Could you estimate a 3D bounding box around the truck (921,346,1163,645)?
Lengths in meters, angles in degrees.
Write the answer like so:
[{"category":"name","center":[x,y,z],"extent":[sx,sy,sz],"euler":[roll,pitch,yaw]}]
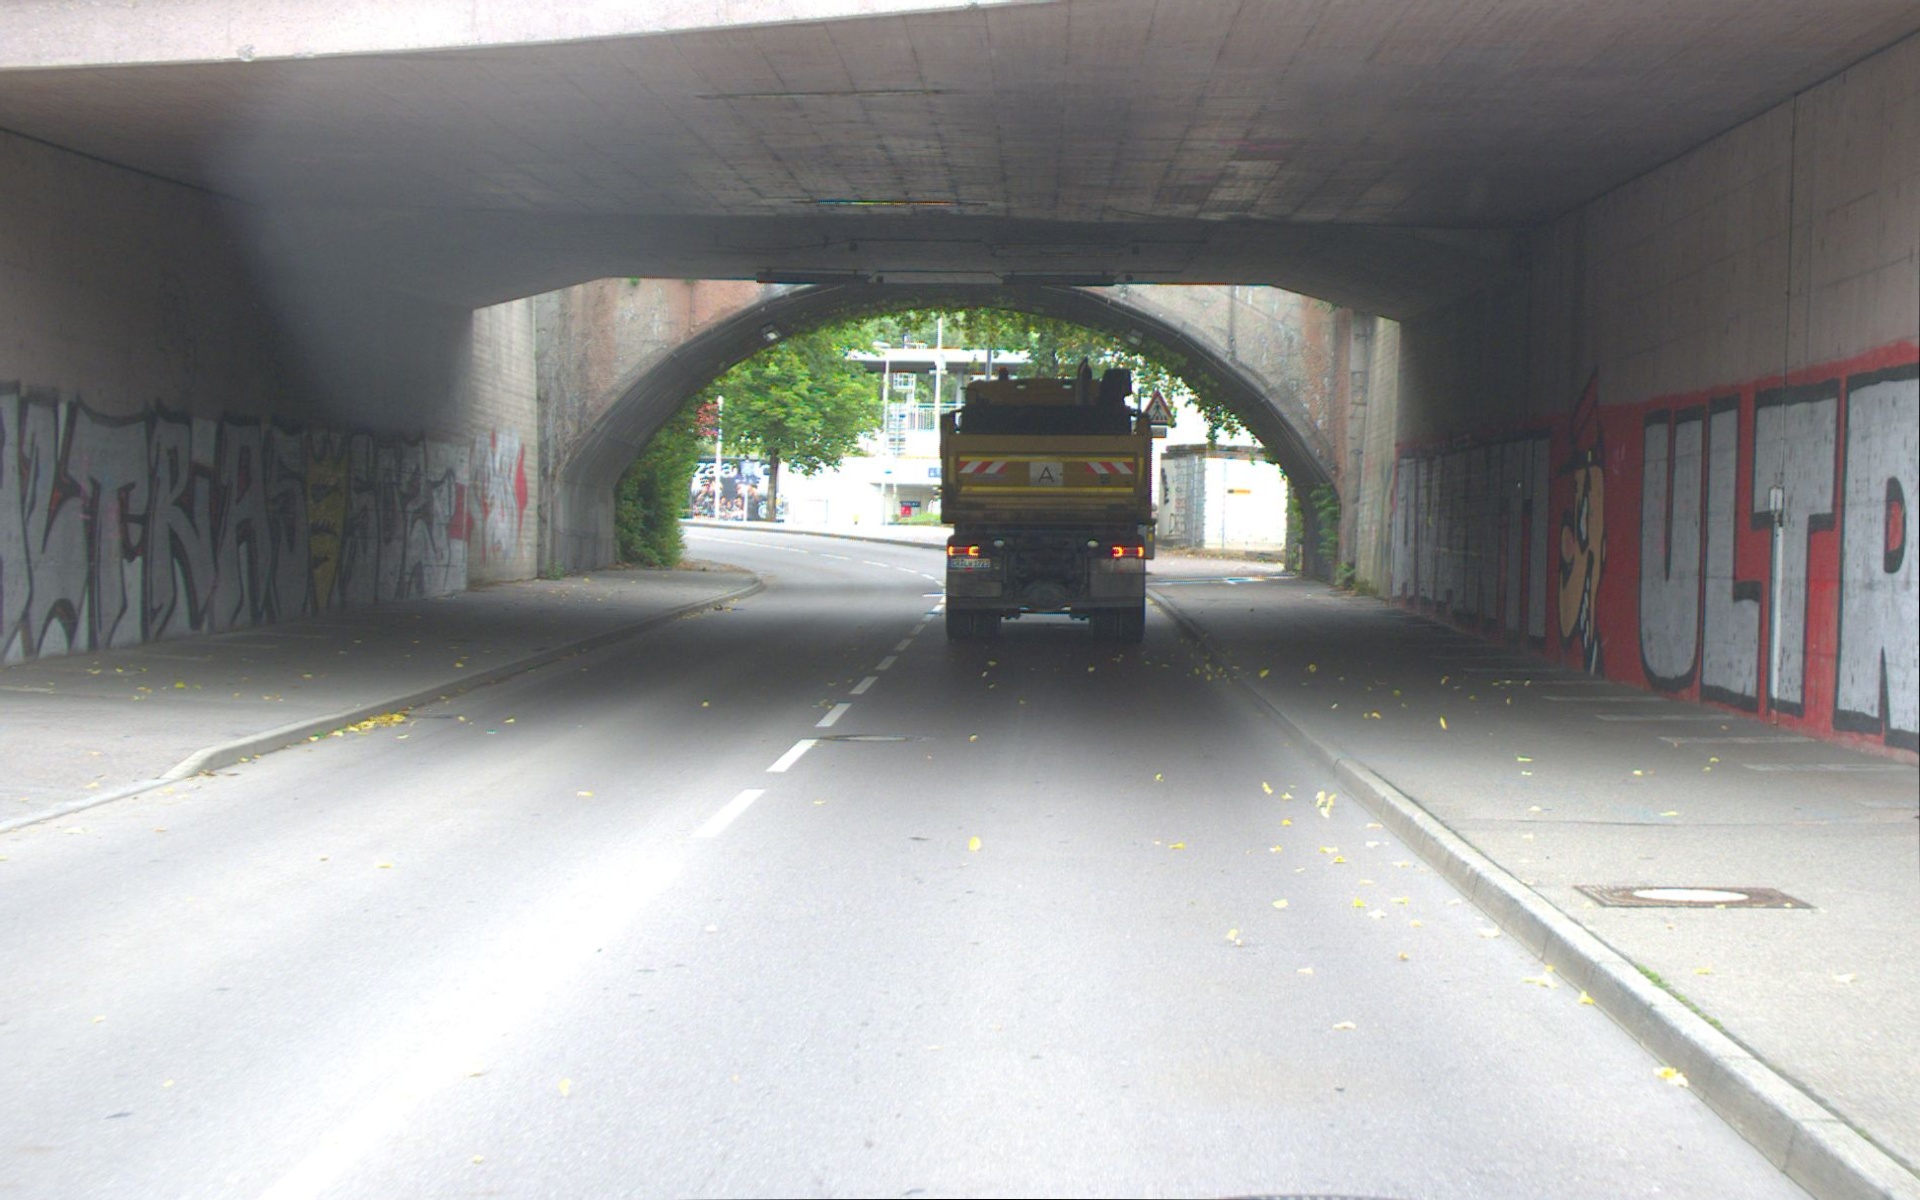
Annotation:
[{"category":"truck","center":[1.143,-1.451,45.216],"extent":[2.765,3.471,8.130],"euler":[2,3,2]}]
